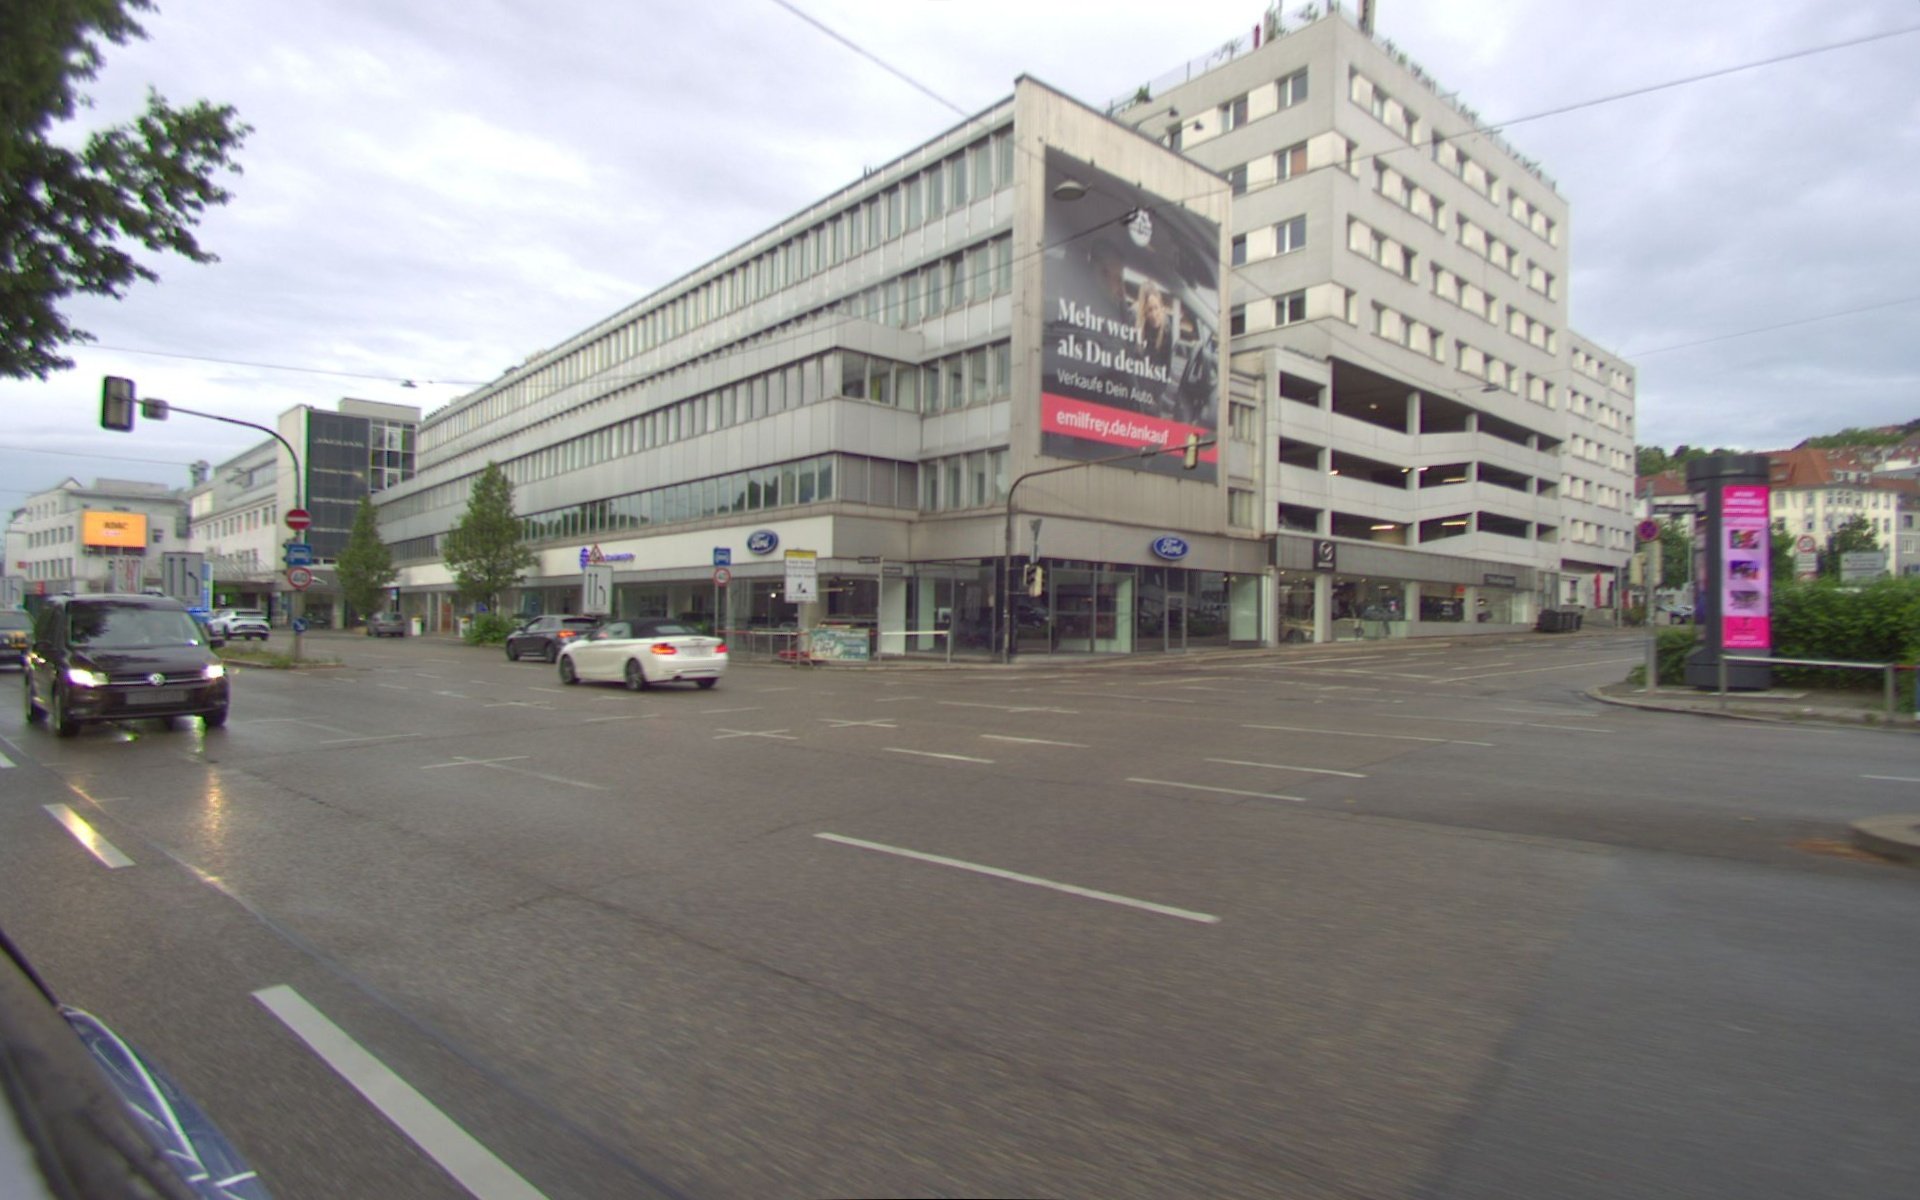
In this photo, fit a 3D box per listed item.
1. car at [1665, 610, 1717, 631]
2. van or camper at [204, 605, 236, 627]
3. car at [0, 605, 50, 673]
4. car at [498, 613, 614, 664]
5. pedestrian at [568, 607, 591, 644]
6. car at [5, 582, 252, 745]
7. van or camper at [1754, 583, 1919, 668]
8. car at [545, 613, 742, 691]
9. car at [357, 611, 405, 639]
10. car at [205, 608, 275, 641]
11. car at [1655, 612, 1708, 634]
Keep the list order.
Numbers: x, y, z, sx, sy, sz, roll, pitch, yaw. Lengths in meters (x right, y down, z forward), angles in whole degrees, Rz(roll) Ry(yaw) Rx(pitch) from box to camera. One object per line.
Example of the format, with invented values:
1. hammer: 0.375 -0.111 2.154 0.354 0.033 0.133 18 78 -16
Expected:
1. car: 67.787 1.922 93.833 3.726 1.874 1.818 -1 -1 42
2. van or camper: -69.834 1.503 95.494 1.902 1.944 4.258 -3 2 -43
3. car: -24.809 0.970 25.847 4.331 1.611 1.791 0 2 41
4. car: -12.481 1.135 31.148 4.040 1.476 1.691 0 -1 42
5. pedestrian: -19.088 1.261 50.786 0.750 1.788 0.864 -2 1 -43
6. car: -11.430 0.727 13.805 4.428 1.828 1.881 0 2 41
7. van or camper: 23.411 0.591 25.217 2.101 1.992 5.459 -3 2 -43
8. car: -6.481 0.988 20.511 4.404 1.404 1.811 0 -2 42
9. car: -40.930 1.733 71.465 1.896 1.829 4.168 -3 2 -44
10. car: -37.837 1.251 53.143 4.451 1.622 1.871 0 0 39
11. car: 64.591 2.036 90.597 3.726 1.874 1.818 -1 -1 42
